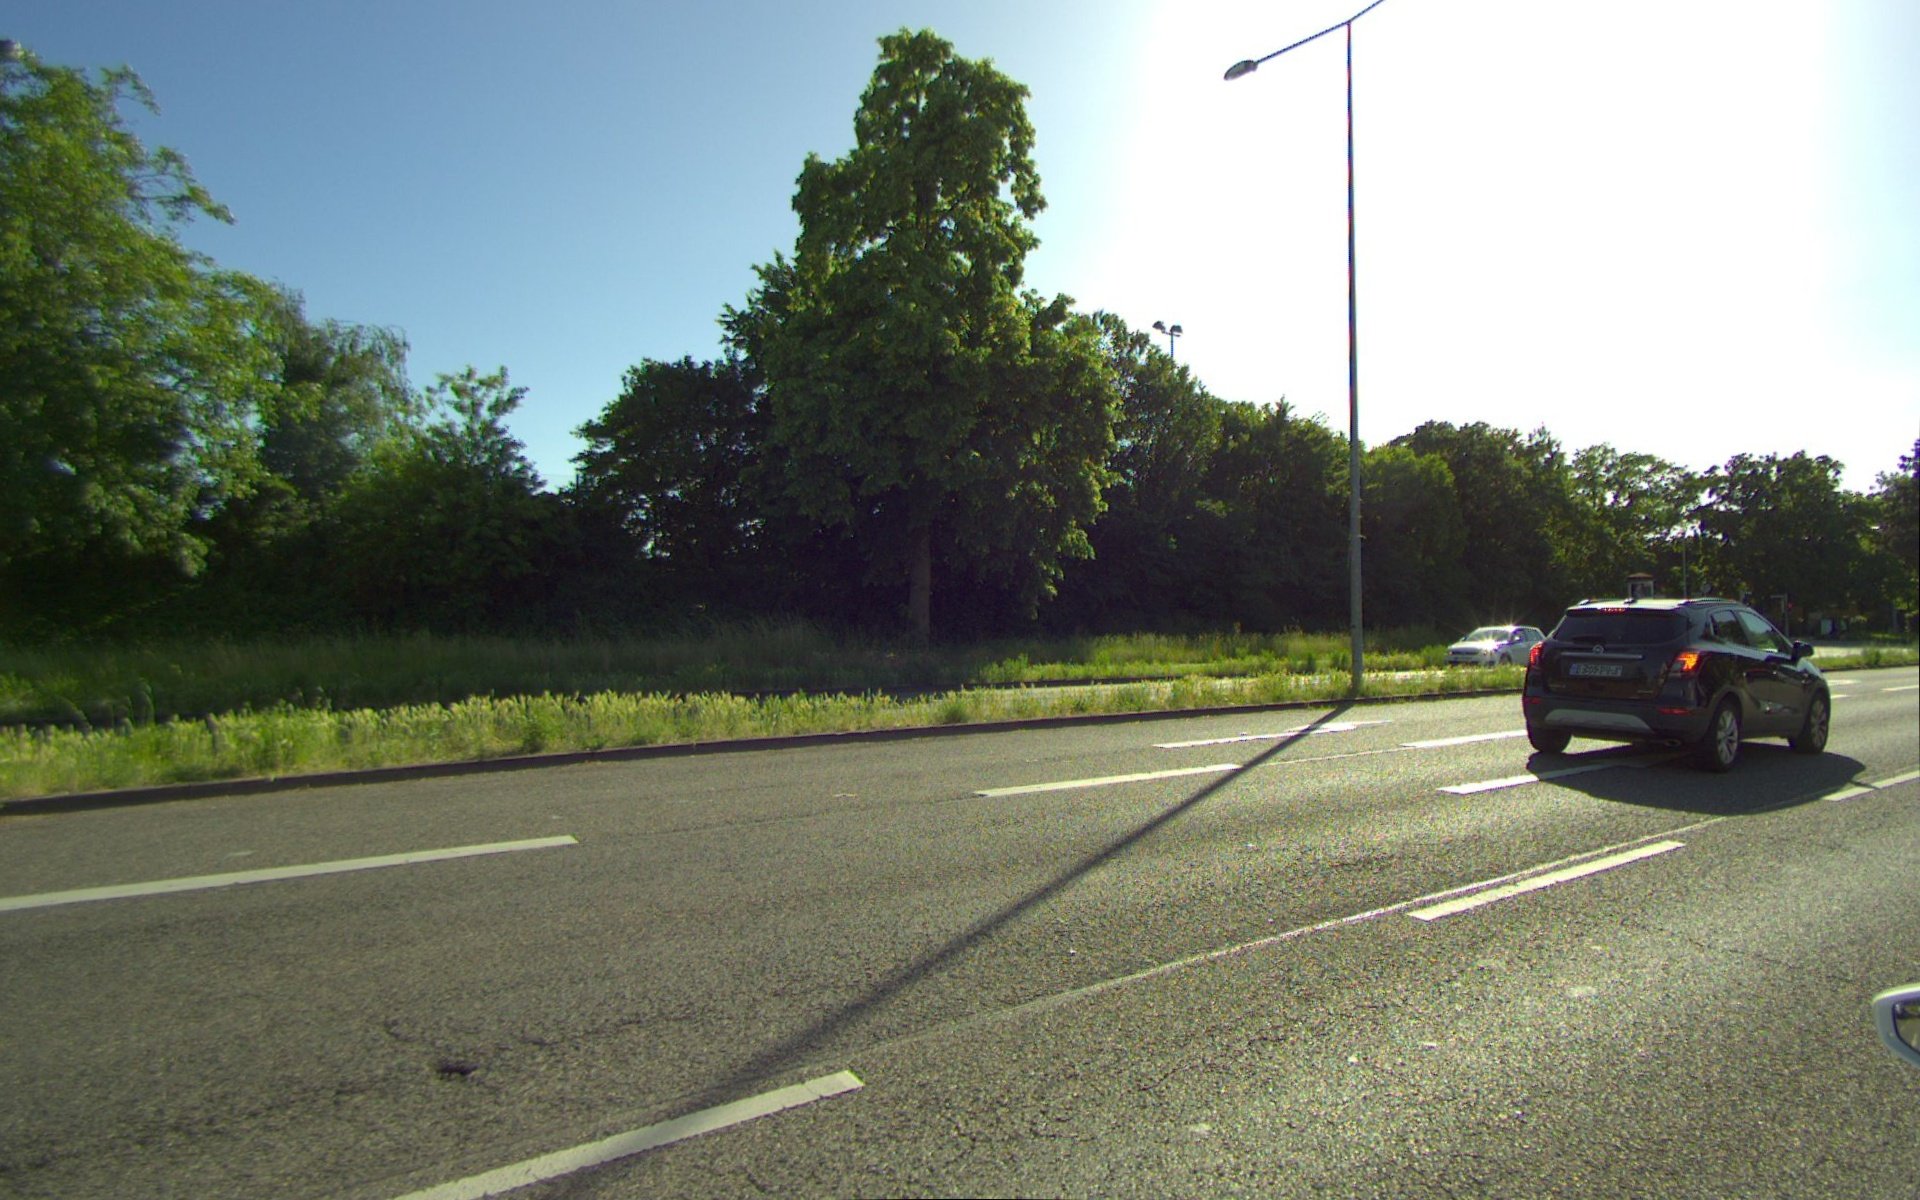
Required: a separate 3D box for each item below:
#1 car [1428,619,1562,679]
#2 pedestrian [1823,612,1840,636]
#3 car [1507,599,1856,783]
[{"bbox_3d":[16.953,1.524,31.786,4.361,1.726,1.901,2,0,-34],"label":"car"},{"bbox_3d":[67.210,1.827,77.483,0.543,1.859,0.842,1,-1,-29],"label":"pedestrian"},{"bbox_3d":[7.973,0.864,10.979,4.371,1.653,1.685,1,-2,-34],"label":"car"}]
